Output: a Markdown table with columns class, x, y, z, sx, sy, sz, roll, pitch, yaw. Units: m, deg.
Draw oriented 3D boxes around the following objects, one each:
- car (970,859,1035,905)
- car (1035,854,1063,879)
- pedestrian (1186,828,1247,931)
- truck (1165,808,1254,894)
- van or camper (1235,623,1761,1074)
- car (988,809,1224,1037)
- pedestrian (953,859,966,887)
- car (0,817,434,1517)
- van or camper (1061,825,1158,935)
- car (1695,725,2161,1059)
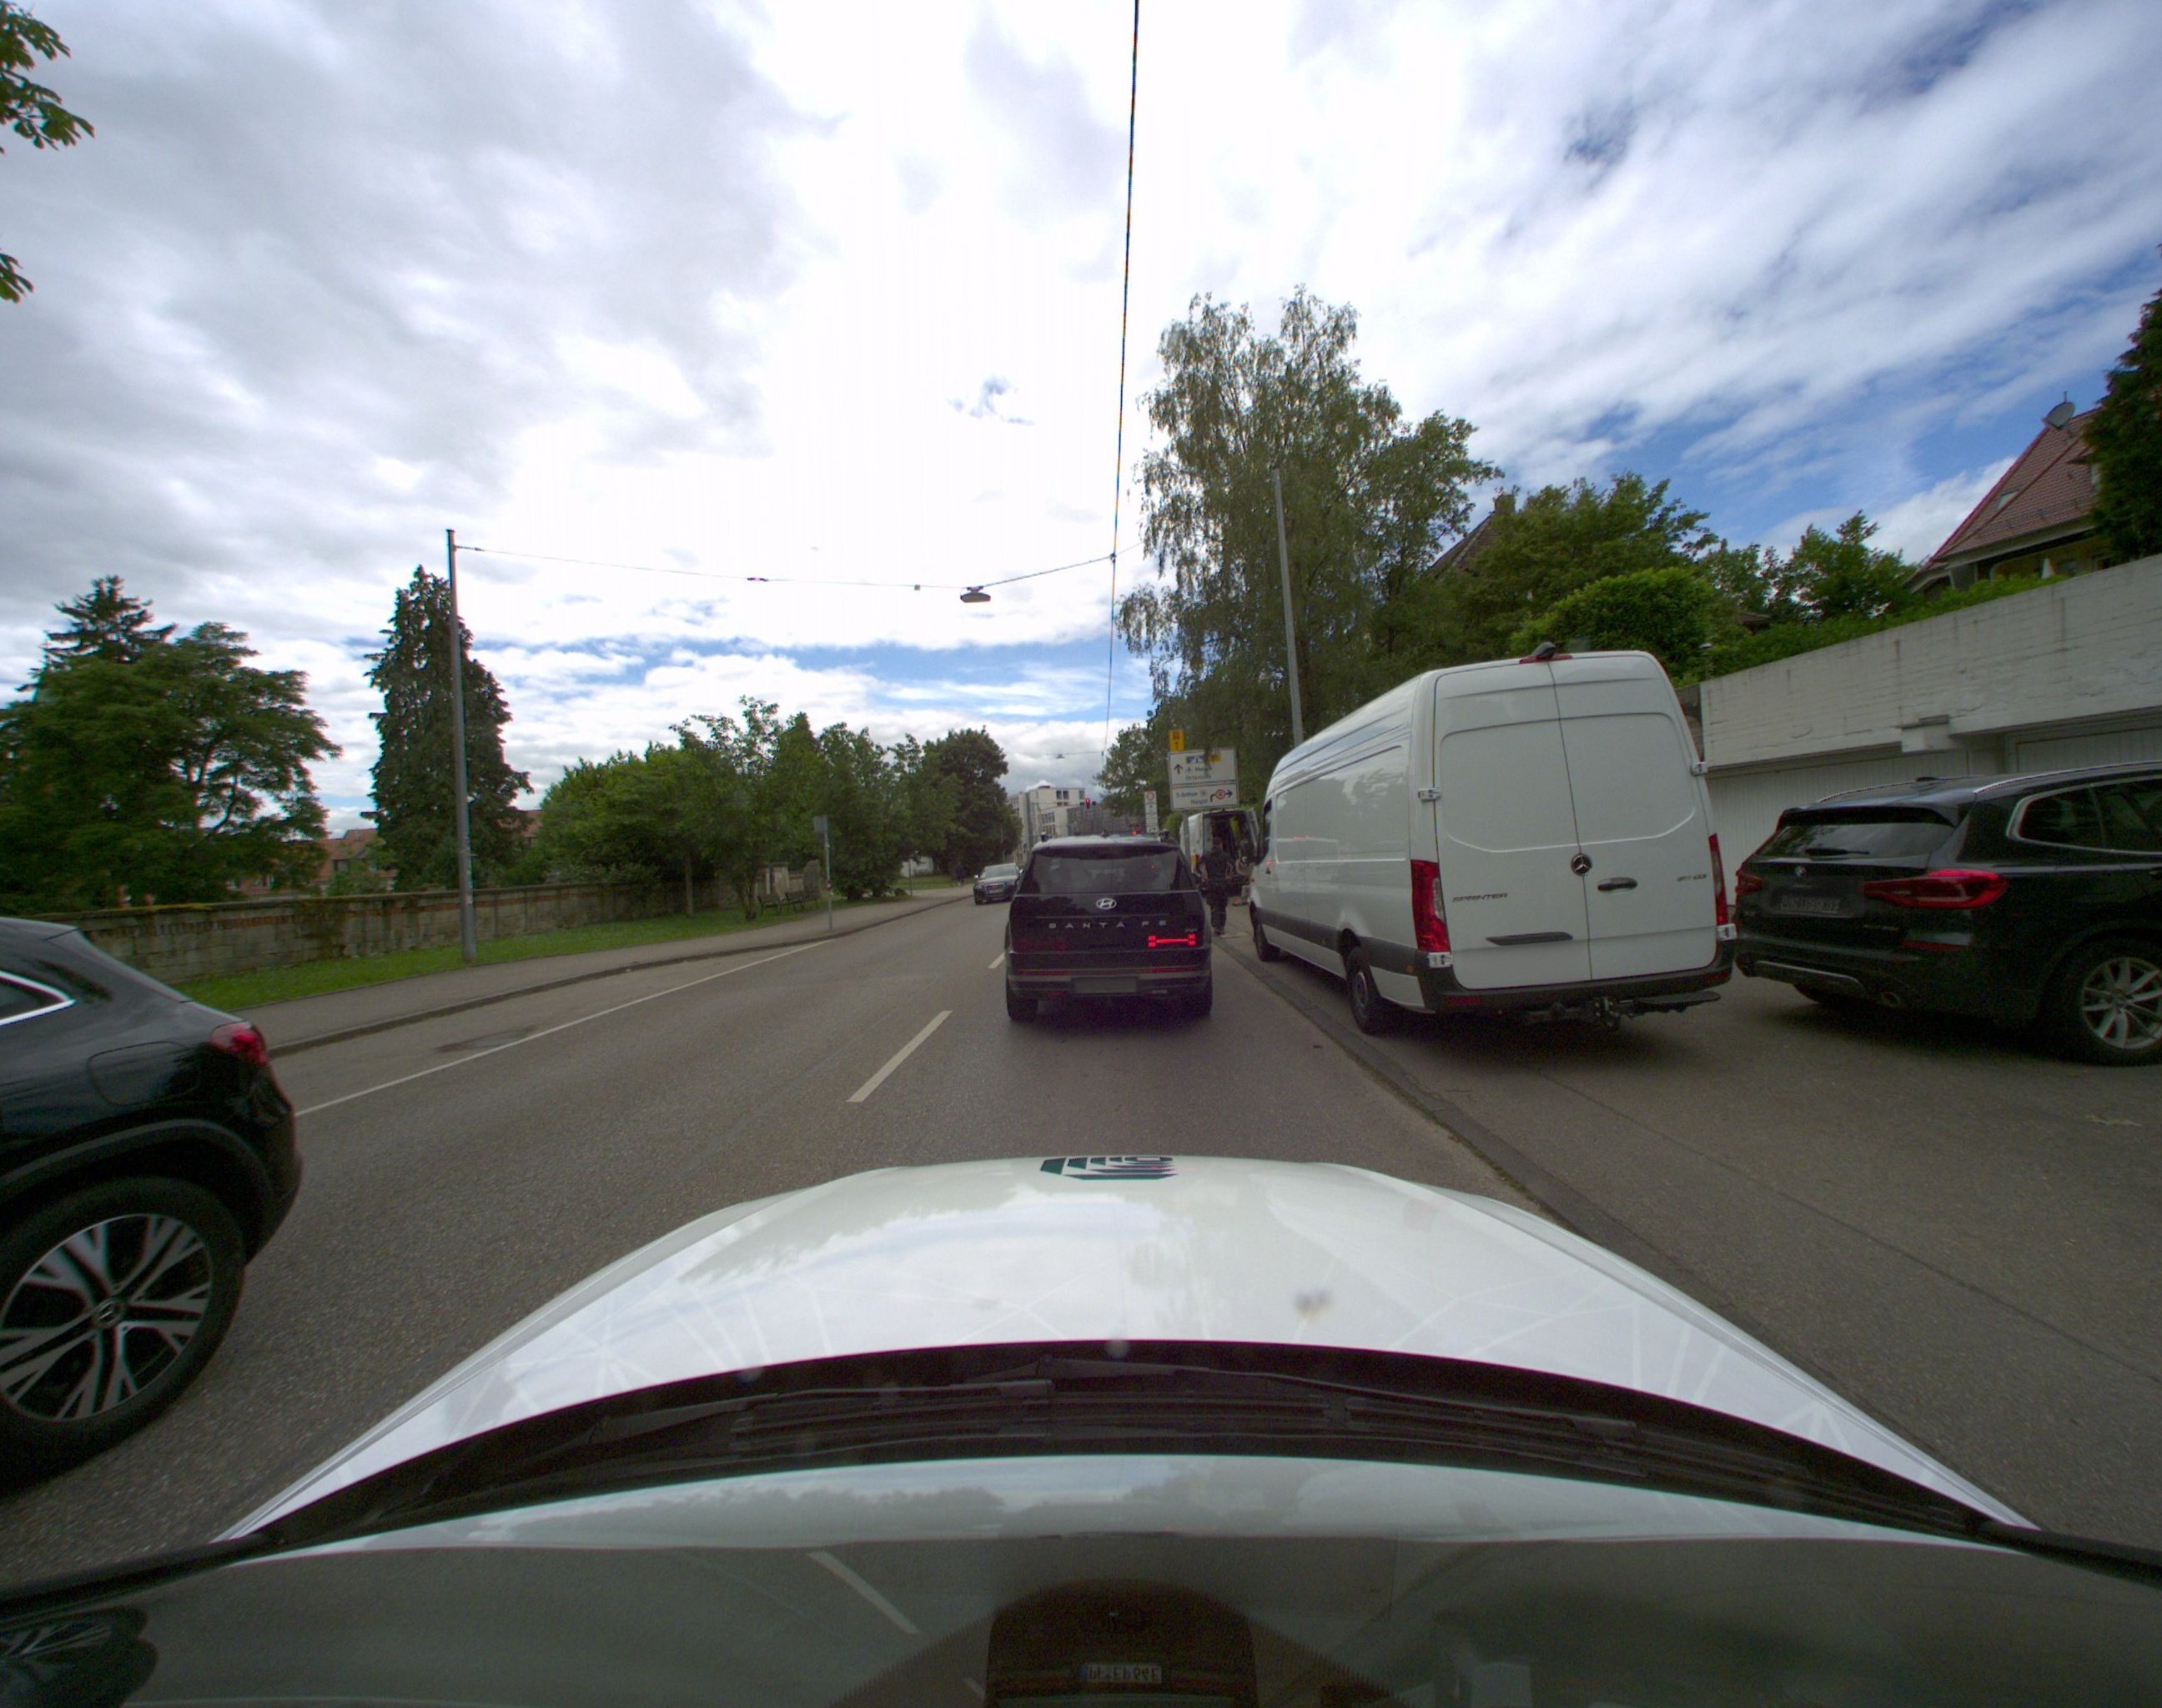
| class | x | y | z | sx | sy | sz | roll | pitch | yaw |
| --- | --- | --- | --- | --- | --- | --- | --- | --- | --- |
| car | -2.914 | 1.008 | 31.148 | 1.852 | 1.453 | 4.112 | -6 | 0 | 2 |
| car | -2.365 | 0.929 | 60.762 | 1.779 | 1.653 | 4.120 | -6 | 0 | 0 |
| pedestrian | 2.455 | 0.452 | 14.718 | 0.750 | 1.797 | 0.878 | -3 | 0 | 28 |
| truck | 4.298 | -0.063 | 28.109 | 1.937 | 2.561 | 5.213 | -5 | -1 | -1 |
| van or camper | 3.132 | -0.030 | 8.191 | 1.986 | 2.620 | 6.543 | -3 | 0 | 2 |
| car | 0.264 | 0.567 | 8.661 | 1.883 | 1.819 | 4.002 | -2 | 0 | 2 |
| pedestrian | -7.682 | 1.224 | 51.521 | 0.737 | 1.715 | 0.791 | -3 | 0 | -5 |
| car | -3.571 | 0.824 | 1.015 | 1.852 | 1.657 | 4.307 | -6 | 0 | 2 |
| van or camper | 0.612 | 0.508 | 17.604 | 1.748 | 2.013 | 4.002 | -3 | 0 | 2 |
| car | 6.861 | 0.124 | 5.222 | 4.398 | 1.750 | 1.739 | -3 | 0 | 3 |
